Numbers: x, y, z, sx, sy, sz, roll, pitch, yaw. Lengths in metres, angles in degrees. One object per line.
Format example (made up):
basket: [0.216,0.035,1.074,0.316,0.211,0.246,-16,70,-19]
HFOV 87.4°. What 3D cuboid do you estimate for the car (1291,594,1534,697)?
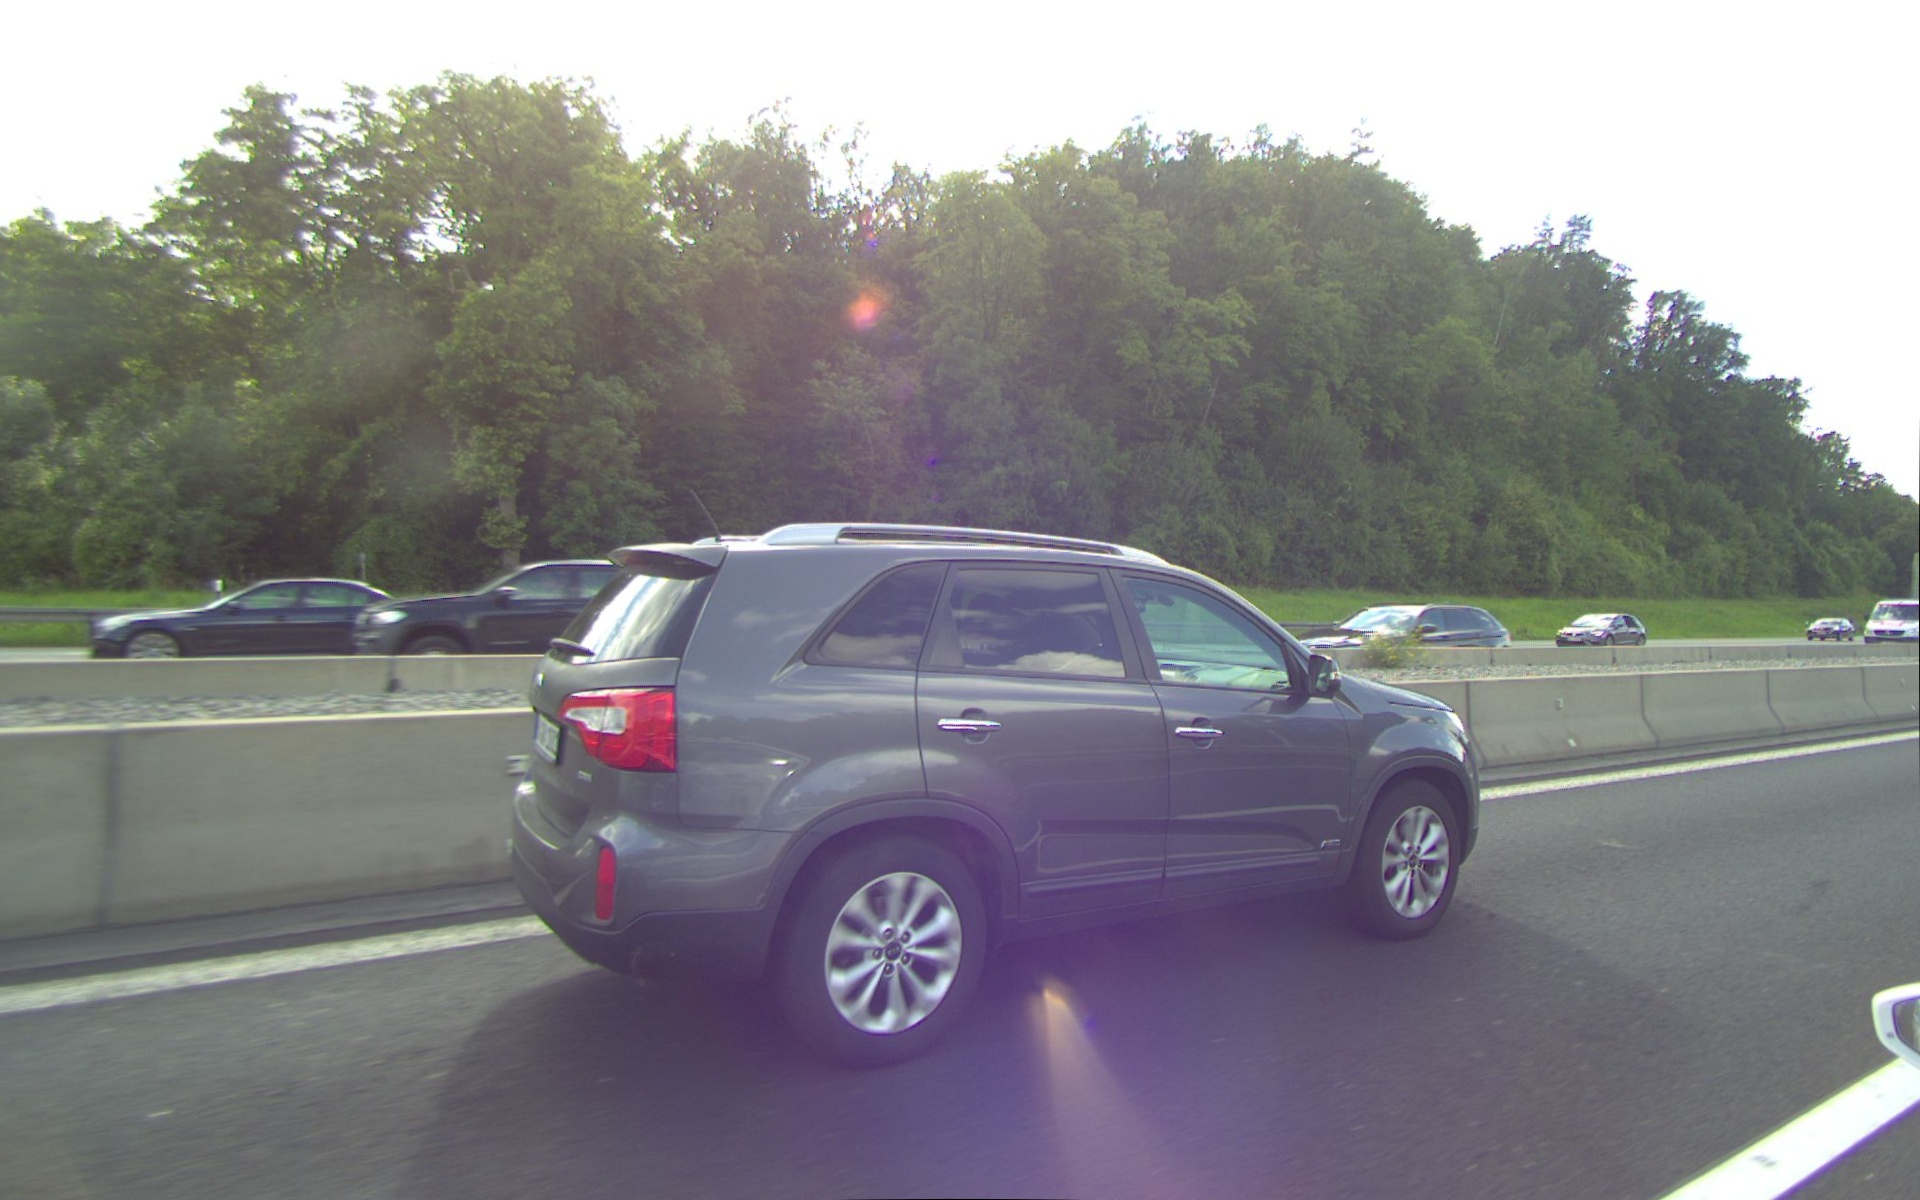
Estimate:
car: [8.187,0.770,18.081,4.432,1.628,1.792,1,0,-31]

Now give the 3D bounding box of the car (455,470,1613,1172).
car: [0.608,0.583,4.576,5.124,1.759,1.809,1,0,-30]

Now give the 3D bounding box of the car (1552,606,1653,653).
car: [24.521,1.120,38.322,4.148,1.661,1.715,1,0,-34]

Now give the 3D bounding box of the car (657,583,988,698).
car: [-2.190,0.618,16.494,4.982,1.636,2.026,1,0,-31]

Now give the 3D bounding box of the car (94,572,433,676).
car: [-11.004,0.371,16.307,4.290,1.484,1.891,1,0,-30]

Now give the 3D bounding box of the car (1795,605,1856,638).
car: [56.430,1.384,65.483,3.958,2.061,1.982,1,0,-33]

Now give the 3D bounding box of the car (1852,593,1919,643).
car: [44.108,0.847,46.568,7.992,2.158,2.187,1,0,-34]
